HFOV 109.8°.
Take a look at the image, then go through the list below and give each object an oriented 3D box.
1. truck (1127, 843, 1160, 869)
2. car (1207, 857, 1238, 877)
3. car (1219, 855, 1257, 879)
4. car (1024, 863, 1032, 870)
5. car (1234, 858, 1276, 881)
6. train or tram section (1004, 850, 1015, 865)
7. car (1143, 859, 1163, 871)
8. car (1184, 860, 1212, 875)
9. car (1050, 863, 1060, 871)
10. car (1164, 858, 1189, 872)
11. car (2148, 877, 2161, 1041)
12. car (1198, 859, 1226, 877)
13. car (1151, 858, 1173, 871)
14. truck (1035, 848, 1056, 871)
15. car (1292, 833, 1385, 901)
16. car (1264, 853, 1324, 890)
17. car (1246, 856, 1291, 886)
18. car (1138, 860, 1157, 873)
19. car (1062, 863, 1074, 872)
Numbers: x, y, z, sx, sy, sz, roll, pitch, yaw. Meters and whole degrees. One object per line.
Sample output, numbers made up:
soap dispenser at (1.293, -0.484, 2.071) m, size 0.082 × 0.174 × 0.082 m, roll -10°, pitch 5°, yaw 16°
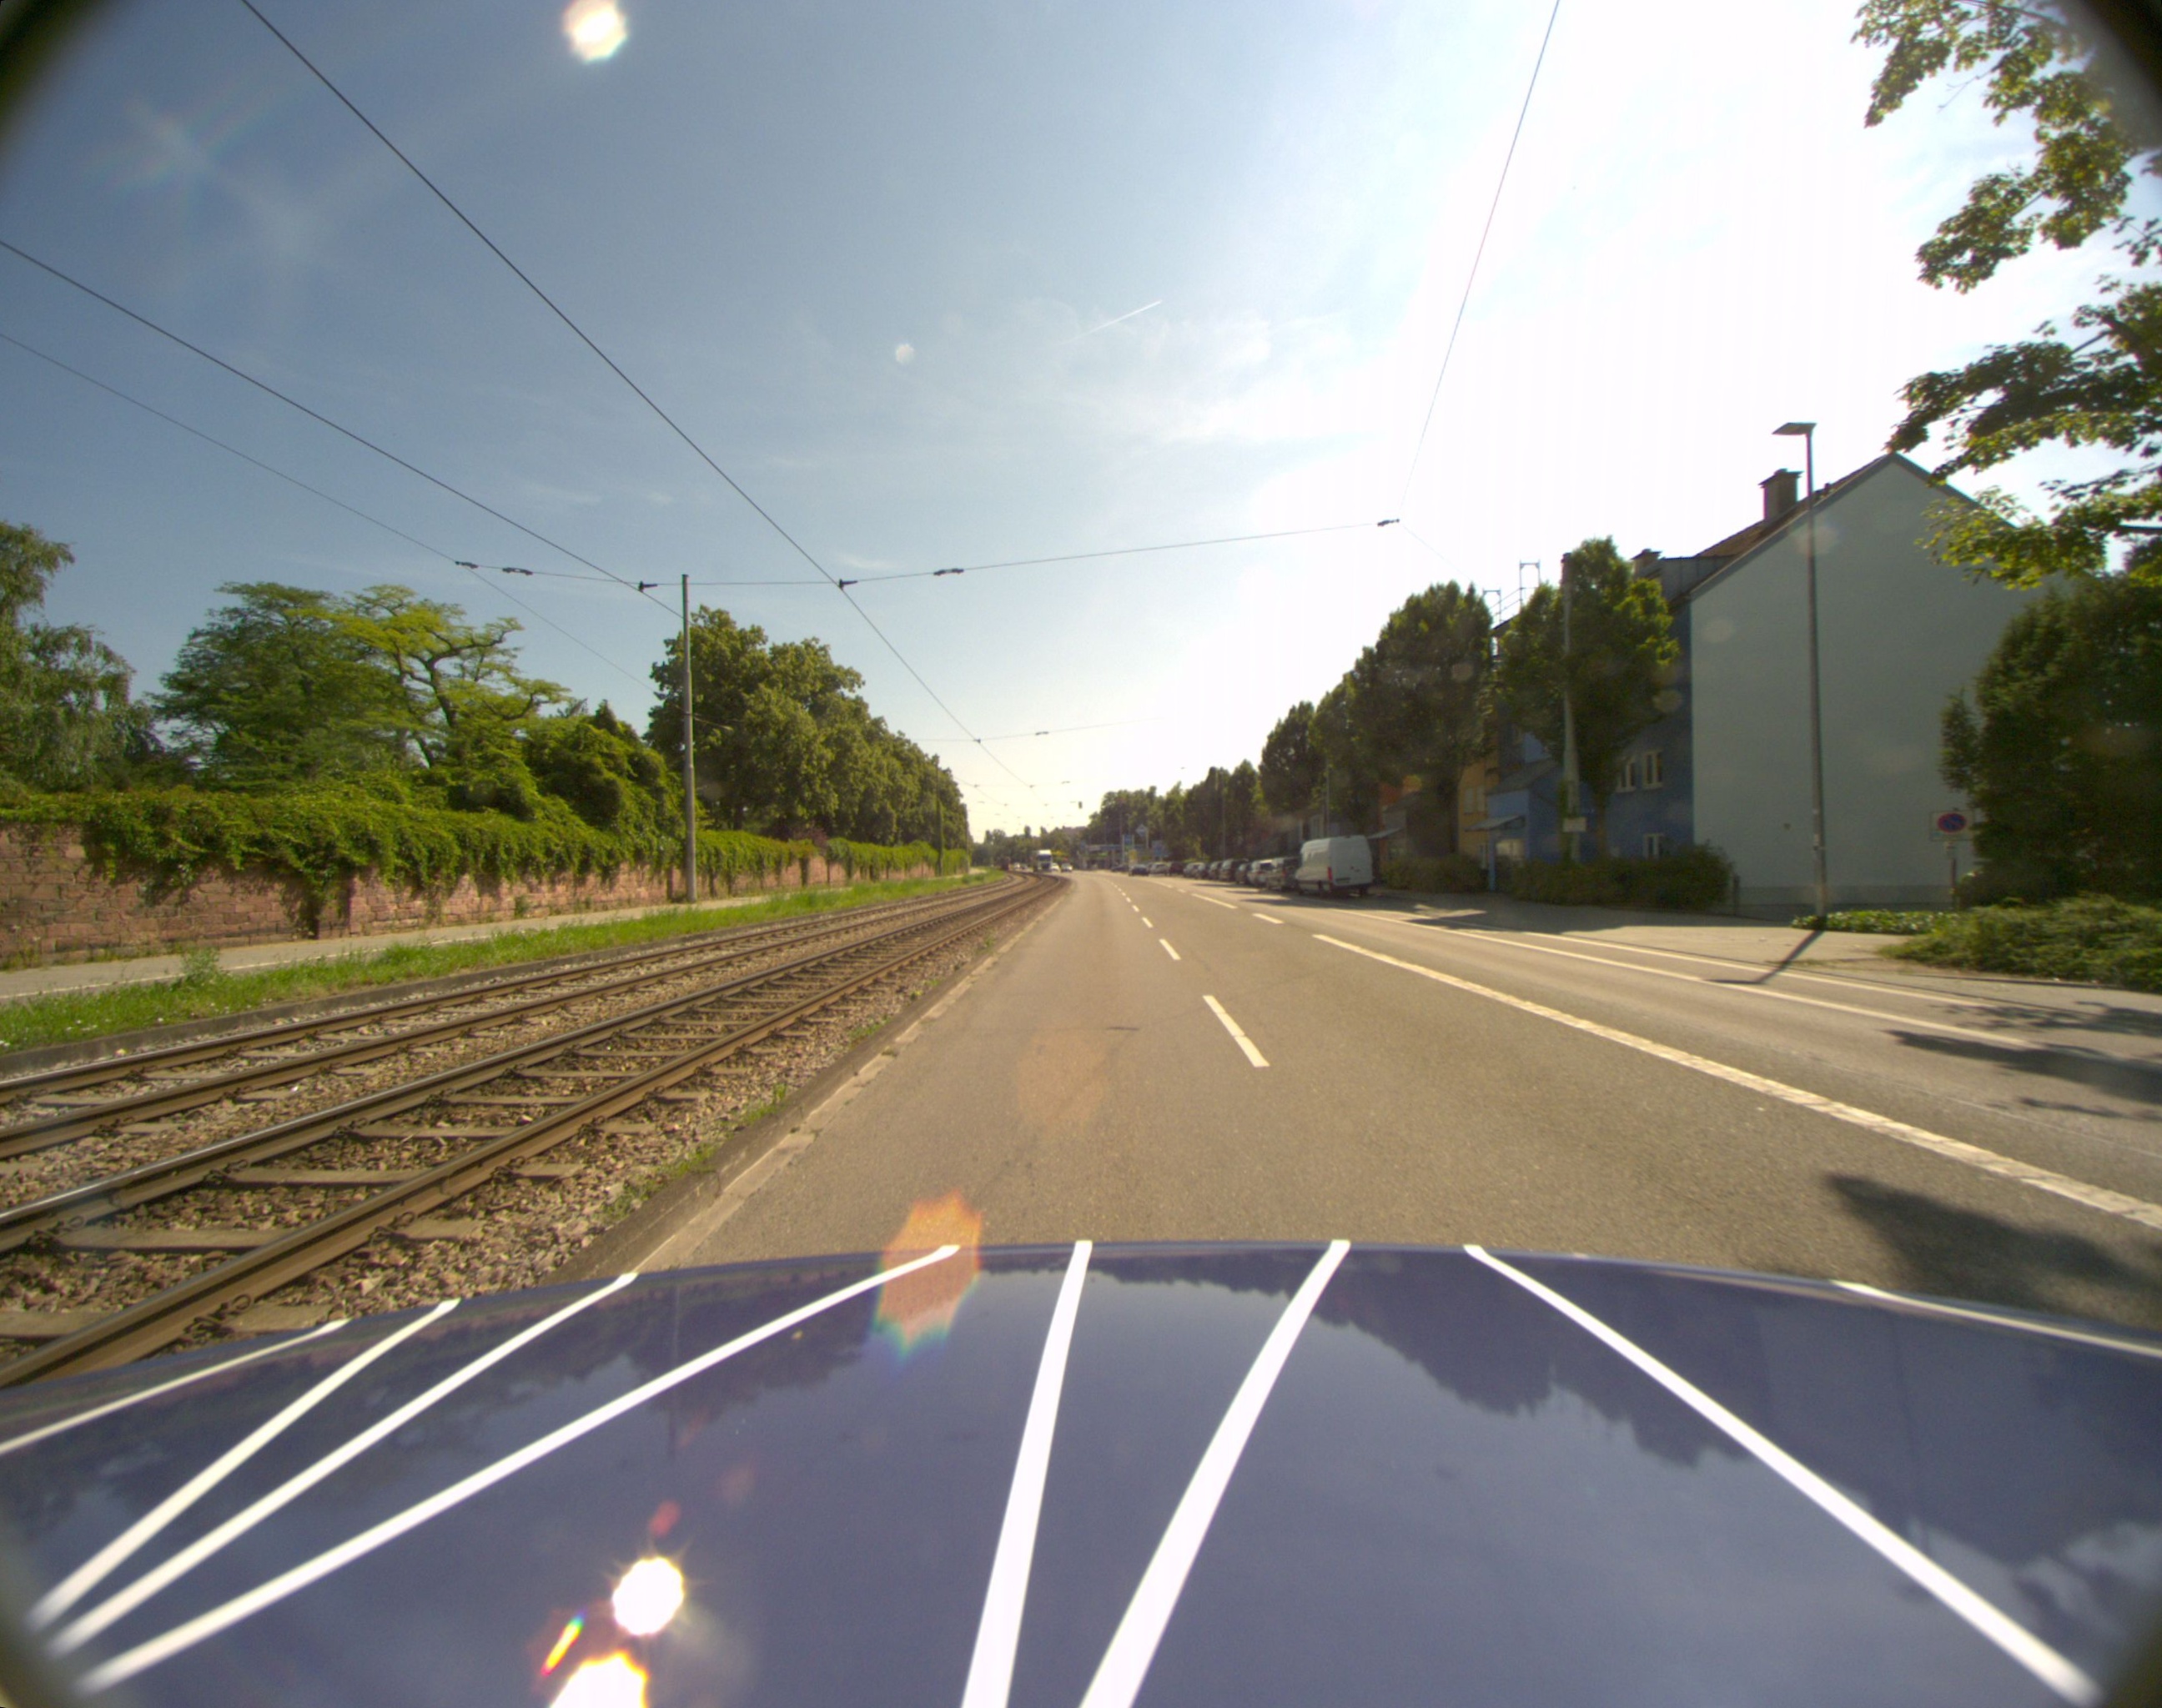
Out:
truck at (8.883, 0.321, 108.950) m, size 3.165 × 3.533 × 8.781 m, roll -1°, pitch 0°, yaw -5°
car at (12.011, 1.093, 64.607) m, size 1.681 × 1.598 × 4.165 m, roll -2°, pitch 0°, yaw -2°
car at (12.201, 1.006, 59.206) m, size 1.834 × 1.718 × 4.349 m, roll -3°, pitch 0°, yaw -2°
car at (-14.092, 3.235, 201.585) m, size 1.854 × 1.707 × 3.999 m, roll -3°, pitch 1°, yaw 0°
car at (12.363, 1.092, 54.278) m, size 1.871 × 1.446 × 4.075 m, roll -4°, pitch 0°, yaw -2°
train or tram section at (-19.590, 1.031, 209.415) m, size 2.721 × 3.715 × 18.871 m, roll -2°, pitch 0°, yaw -4°
car at (9.570, 1.507, 101.377) m, size 1.915 × 1.469 × 4.214 m, roll -2°, pitch 0°, yaw -5°
car at (11.885, 1.338, 77.532) m, size 1.682 × 1.437 × 4.836 m, roll -3°, pitch 0°, yaw -5°
car at (-5.211, 2.579, 152.812) m, size 1.785 × 1.538 × 4.393 m, roll -2°, pitch 0°, yaw -4°
car at (11.155, 1.245, 88.832) m, size 1.910 × 1.567 × 4.930 m, roll -2°, pitch 0°, yaw -5°
car at (10.562, 0.907, 4.393) m, size 1.845 × 1.457 × 4.909 m, roll -1°, pitch 0°, yaw -1°
car at (12.105, 1.266, 70.583) m, size 1.681 × 1.461 × 4.213 m, roll -2°, pitch 0°, yaw -2°
car at (10.300, 1.347, 96.631) m, size 2.040 × 1.490 × 4.131 m, roll -2°, pitch 0°, yaw -5°
truck at (-6.490, 0.909, 137.260) m, size 2.807 × 3.926 × 11.936 m, roll -1°, pitch 0°, yaw -7°
car at (11.683, 0.553, 35.121) m, size 1.998 × 2.661 × 7.087 m, roll -4°, pitch 0°, yaw 3°
car at (12.011, 0.946, 43.148) m, size 1.998 × 1.855 × 4.967 m, roll -5°, pitch 0°, yaw 2°
car at (12.022, 1.053, 48.950) m, size 1.852 × 1.693 × 4.541 m, roll -4°, pitch 0°, yaw 2°
car at (6.961, 1.319, 79.656) m, size 1.691 × 1.237 × 4.065 m, roll -1°, pitch 0°, yaw 2°
car at (-2.237, 2.378, 130.984) m, size 1.748 × 1.421 × 5.040 m, roll -2°, pitch 0°, yaw -4°
